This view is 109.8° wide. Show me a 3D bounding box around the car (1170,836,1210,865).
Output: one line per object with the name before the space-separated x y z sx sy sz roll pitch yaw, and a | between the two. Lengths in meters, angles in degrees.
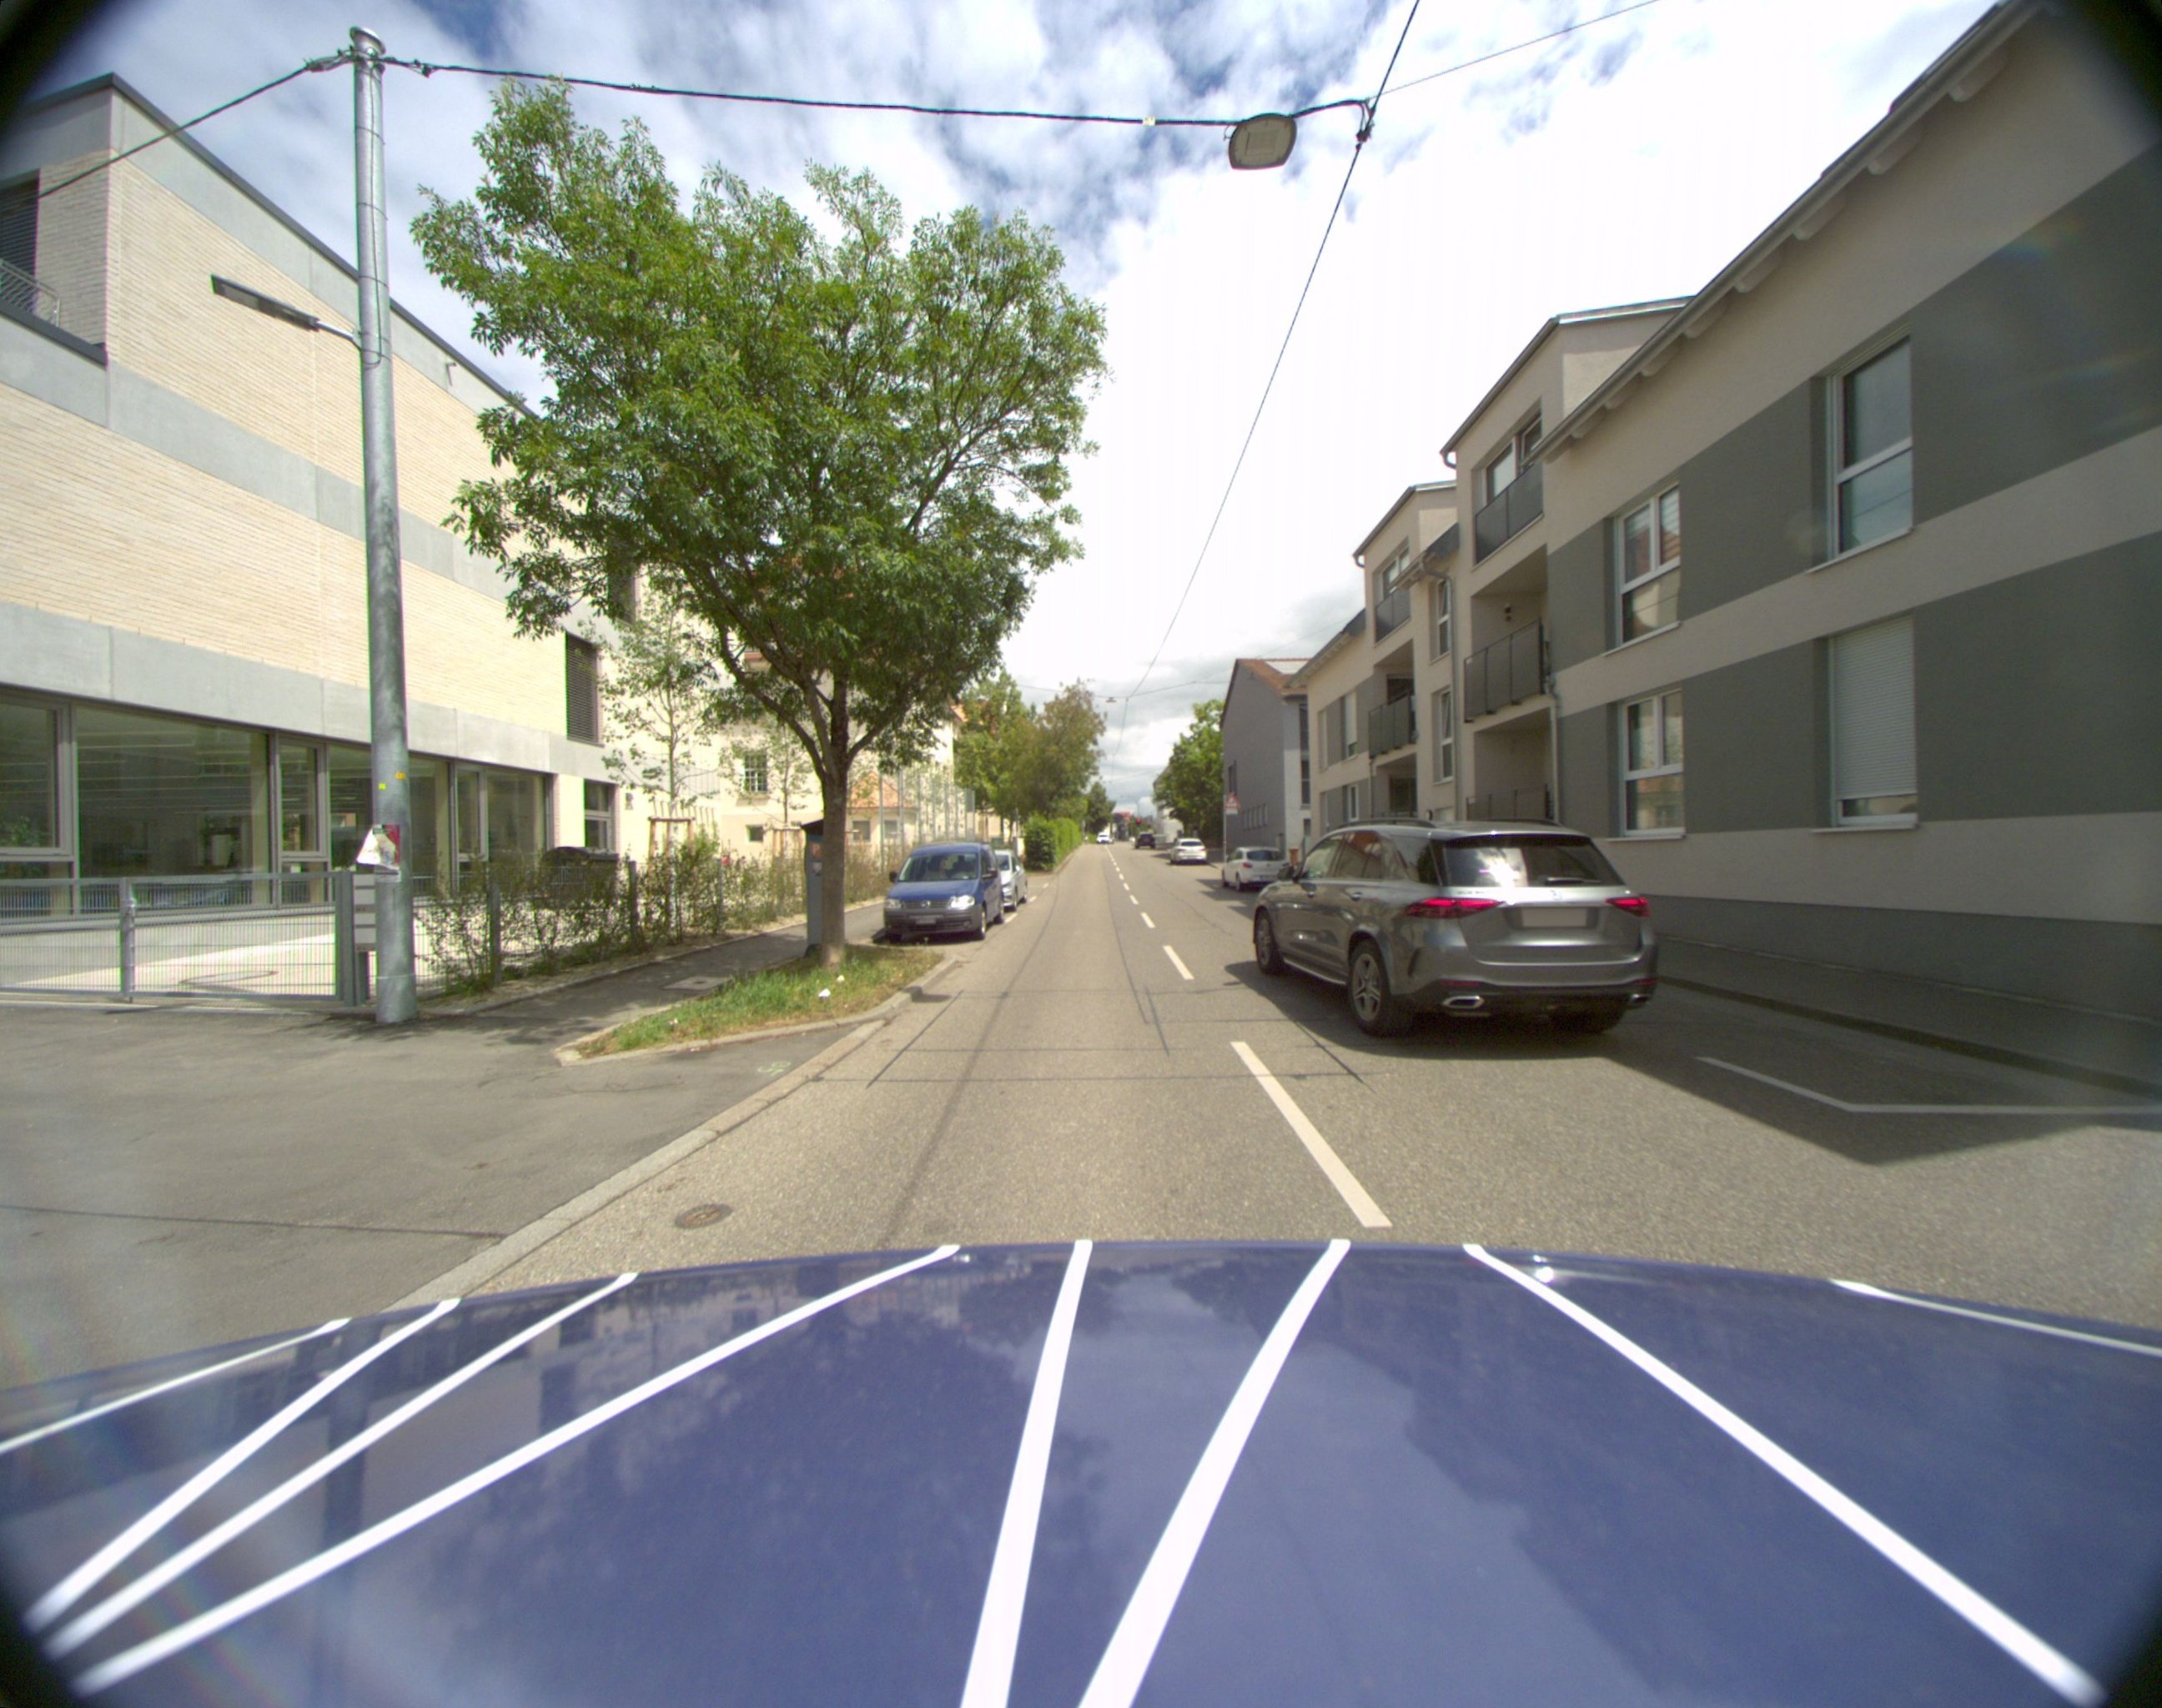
car | 6.114 -0.244 43.075 1.737 1.480 4.065 0 2 1

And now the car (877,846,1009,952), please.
car | -2.499 0.740 14.755 1.698 1.733 4.159 -1 0 1

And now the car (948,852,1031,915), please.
car | -2.360 0.720 20.441 1.677 1.510 3.670 -1 0 1

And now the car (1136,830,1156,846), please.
car | 6.490 -1.614 76.238 1.672 1.545 3.964 0 2 1

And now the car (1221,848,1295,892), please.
car | 5.754 0.469 25.108 1.665 1.322 3.473 -1 0 1

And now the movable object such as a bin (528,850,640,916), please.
movable object such as a bin | -11.572 0.643 17.786 1.351 1.438 1.807 -1 1 2

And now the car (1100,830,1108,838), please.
car | 3.612 -3.131 120.608 1.298 1.148 2.983 -1 0 1

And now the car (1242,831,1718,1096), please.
car | 3.122 0.715 7.270 1.946 1.709 4.595 0 0 -3
